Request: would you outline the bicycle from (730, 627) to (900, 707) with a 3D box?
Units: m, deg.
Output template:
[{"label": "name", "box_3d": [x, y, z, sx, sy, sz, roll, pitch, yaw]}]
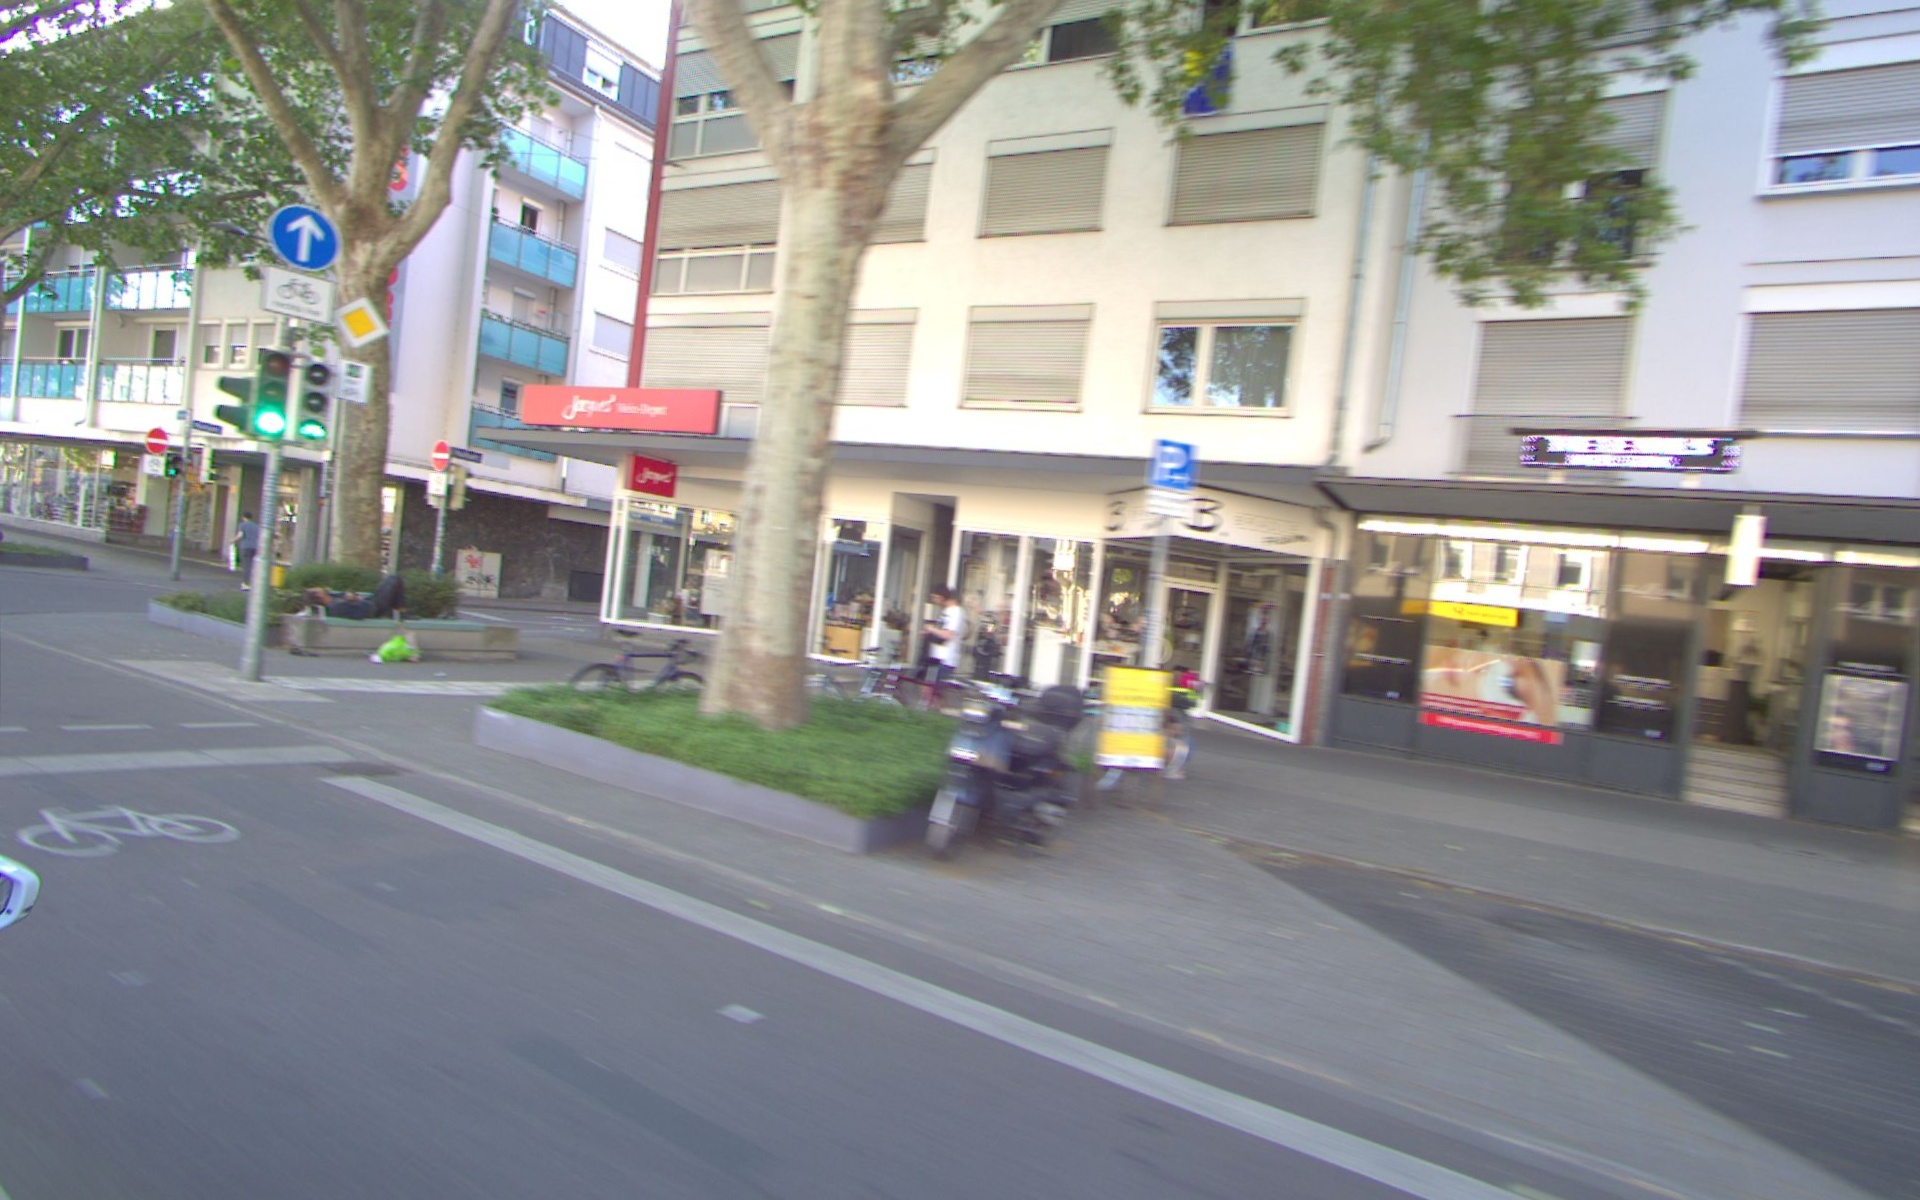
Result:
[{"label": "bicycle", "box_3d": [-1.613, 0.779, 11.485, 0.701, 0.775, 1.874, 6, 0, 40]}]

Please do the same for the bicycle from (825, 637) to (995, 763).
[{"label": "bicycle", "box_3d": [-0.508, 1.043, 11.019, 0.701, 1.205, 1.871, 7, 3, 40]}]

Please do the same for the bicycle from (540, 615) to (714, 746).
[{"label": "bicycle", "box_3d": [-3.172, 0.810, 9.711, 0.453, 1.117, 1.513, 7, -3, 33]}]

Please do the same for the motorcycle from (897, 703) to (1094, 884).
[{"label": "motorcycle", "box_3d": [0.284, 1.179, 6.503, 0.535, 0.903, 1.572, 6, 0, 29]}]

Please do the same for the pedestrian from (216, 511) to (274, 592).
[{"label": "pedestrian", "box_3d": [-16.937, -1.140, 23.836, 0.752, 1.817, 0.780, 7, 2, 32]}]

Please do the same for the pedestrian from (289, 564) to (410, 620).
[{"label": "pedestrian", "box_3d": [-8.071, -0.098, 13.348, 0.474, 0.596, 1.256, 6, -1, 30]}]

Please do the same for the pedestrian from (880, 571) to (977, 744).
[{"label": "pedestrian", "box_3d": [-0.365, 0.668, 11.872, 0.809, 1.900, 0.645, 6, 1, 14]}]

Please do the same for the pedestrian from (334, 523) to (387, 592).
[{"label": "pedestrian", "box_3d": [-16.197, -1.140, 27.202, 0.820, 1.700, 0.749, 9, 2, 26]}]

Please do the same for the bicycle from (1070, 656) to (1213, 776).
[{"label": "bicycle", "box_3d": [2.058, 1.254, 11.244, 0.669, 1.169, 1.760, 7, 2, 41]}]

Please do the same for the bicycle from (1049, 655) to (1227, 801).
[{"label": "bicycle", "box_3d": [1.861, 1.242, 10.230, 0.819, 1.248, 2.079, 7, 1, 37]}]

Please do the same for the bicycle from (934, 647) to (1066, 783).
[{"label": "bicycle", "box_3d": [0.465, 1.161, 10.711, 0.660, 1.205, 1.787, 6, 2, 26]}]
